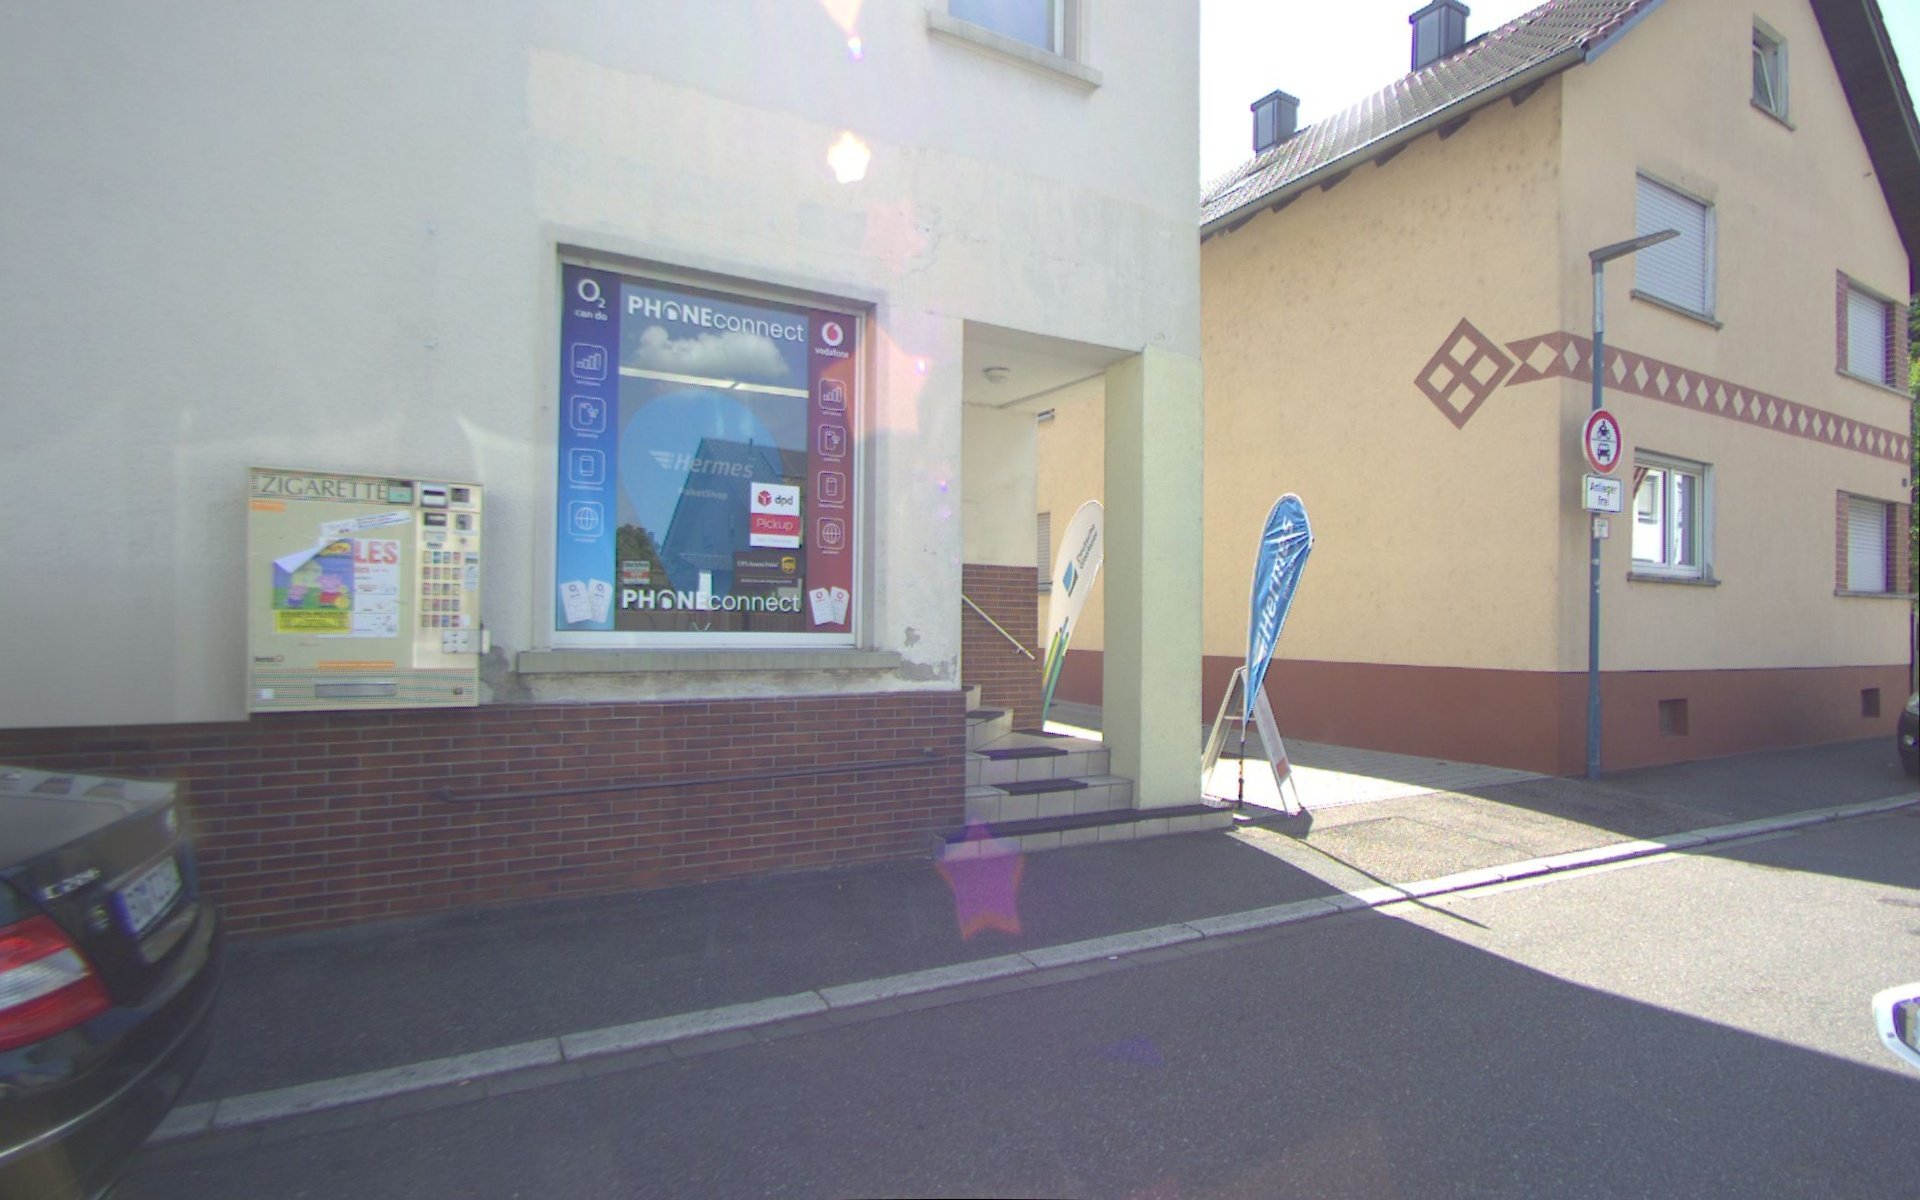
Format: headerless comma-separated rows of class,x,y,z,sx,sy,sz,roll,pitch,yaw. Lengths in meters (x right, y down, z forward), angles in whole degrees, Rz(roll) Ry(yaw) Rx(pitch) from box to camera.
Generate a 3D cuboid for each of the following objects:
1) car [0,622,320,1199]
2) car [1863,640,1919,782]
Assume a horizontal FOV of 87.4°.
car,-3.622,0.746,1.522,4.337,1.430,1.690,1,-1,-29
car,11.491,1.152,10.605,4.018,1.392,1.753,1,0,-30
